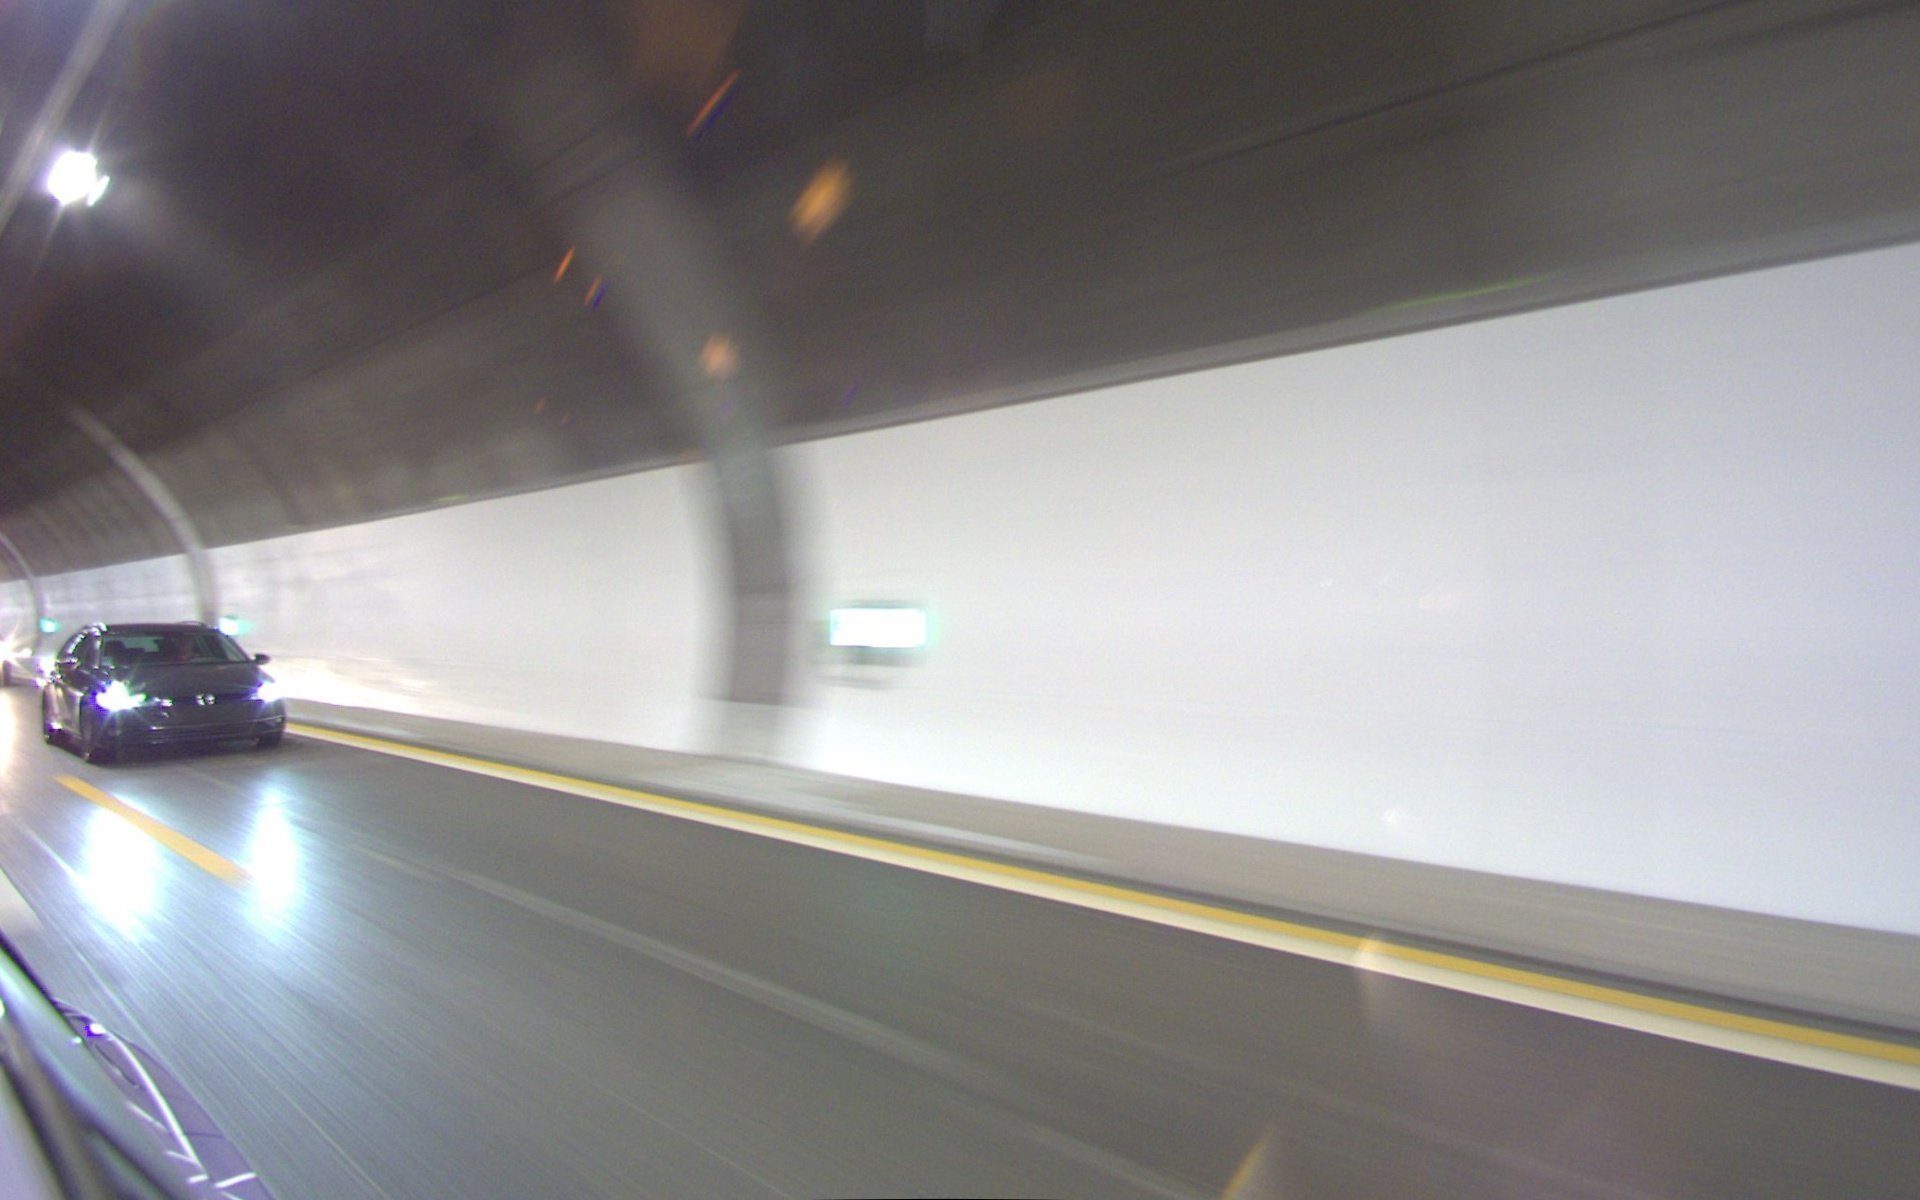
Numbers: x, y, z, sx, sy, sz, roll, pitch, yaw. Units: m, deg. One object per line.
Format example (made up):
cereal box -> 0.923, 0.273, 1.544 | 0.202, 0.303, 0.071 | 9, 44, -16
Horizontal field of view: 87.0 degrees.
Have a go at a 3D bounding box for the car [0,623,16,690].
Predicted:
car -> -23.506, 1.331, 23.808 | 2.648, 1.528, 1.512 | -2, -1, 38

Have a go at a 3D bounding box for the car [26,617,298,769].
car -> -9.725, 0.976, 12.172 | 4.881, 1.449, 1.759 | -2, -1, 42
